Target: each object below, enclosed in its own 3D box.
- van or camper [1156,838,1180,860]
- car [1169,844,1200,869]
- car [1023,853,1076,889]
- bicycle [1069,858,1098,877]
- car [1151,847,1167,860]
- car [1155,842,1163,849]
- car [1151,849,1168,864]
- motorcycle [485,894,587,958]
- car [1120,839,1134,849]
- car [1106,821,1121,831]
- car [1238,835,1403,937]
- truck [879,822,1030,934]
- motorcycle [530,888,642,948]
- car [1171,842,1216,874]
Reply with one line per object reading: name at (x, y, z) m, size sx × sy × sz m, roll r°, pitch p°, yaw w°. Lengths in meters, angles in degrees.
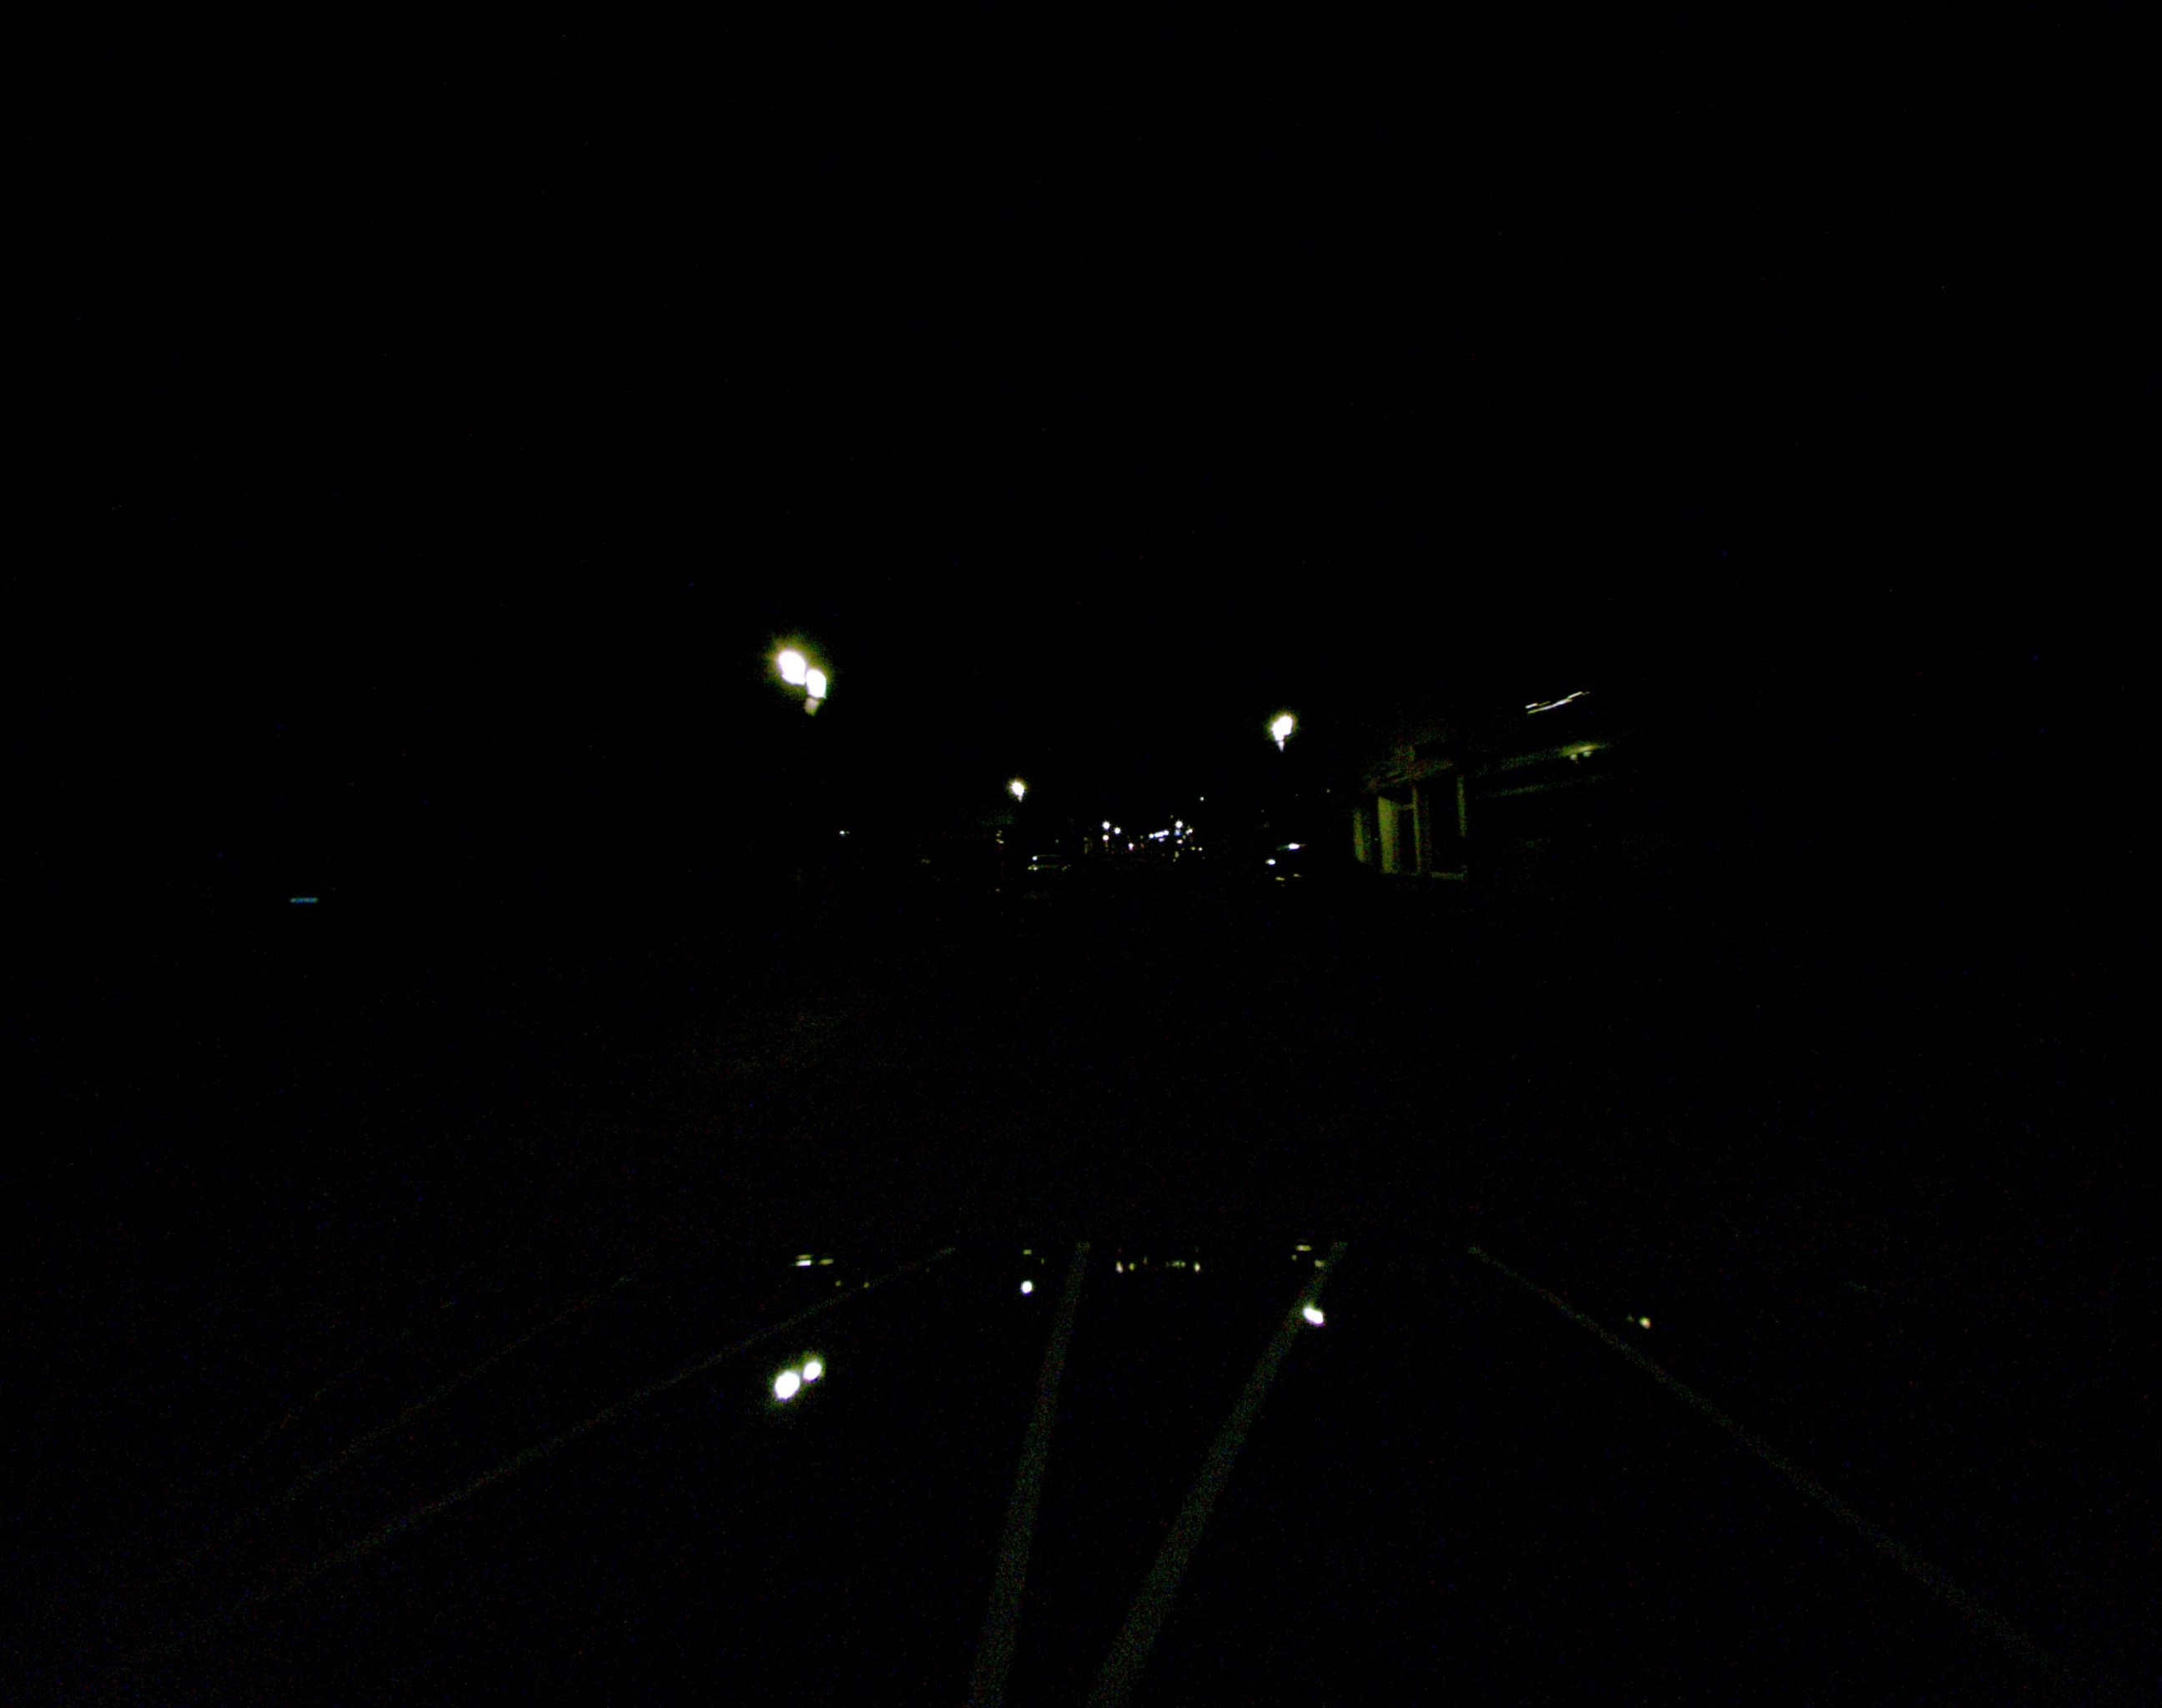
van or camper at (8.539, -0.490, 74.530) m, size 1.849 × 1.930 × 5.156 m, roll -4°, pitch 1°, yaw 11°
car at (6.771, 0.120, 49.934) m, size 1.732 × 1.468 × 3.847 m, roll -4°, pitch 1°, yaw 4°
car at (-1.378, 0.726, 34.856) m, size 1.793 × 1.483 × 4.060 m, roll -2°, pitch 1°, yaw 6°
bicycle at (0.155, 0.840, 46.790) m, size 1.758 × 1.056 × 0.346 m, roll -3°, pitch 1°, yaw 3°
car at (10.291, -0.043, 100.391) m, size 1.801 × 1.469 × 4.322 m, roll -3°, pitch 1°, yaw 5°
car at (19.394, -2.123, 188.070) m, size 1.655 × 1.417 × 4.015 m, roll -6°, pitch 1°, yaw 4°
car at (8.579, 0.298, 82.894) m, size 1.720 × 1.404 × 4.386 m, roll -5°, pitch 1°, yaw 6°
motorcycle at (-11.321, 1.487, 15.816) m, size 1.634 × 1.179 × 0.561 m, roll -3°, pitch 1°, yaw -1°
car at (6.969, -1.469, 114.226) m, size 1.756 × 1.456 × 4.468 m, roll -1°, pitch 1°, yaw 8°
car at (4.618, -3.947, 108.103) m, size 1.664 × 1.370 × 4.105 m, roll -1°, pitch 1°, yaw 8°
car at (4.325, 0.497, 14.435) m, size 1.678 × 1.534 × 4.229 m, roll -4°, pitch 1°, yaw -1°
truck at (-2.918, 0.491, 19.247) m, size 2.341 × 2.298 × 5.782 m, roll -3°, pitch 1°, yaw 5°
motorcycle at (-10.961, 1.408, 16.861) m, size 2.022 × 1.179 × 0.561 m, roll -3°, pitch 1°, yaw -1°
car at (6.187, 0.189, 42.336) m, size 2.024 × 1.479 × 5.008 m, roll -6°, pitch 0°, yaw 5°
